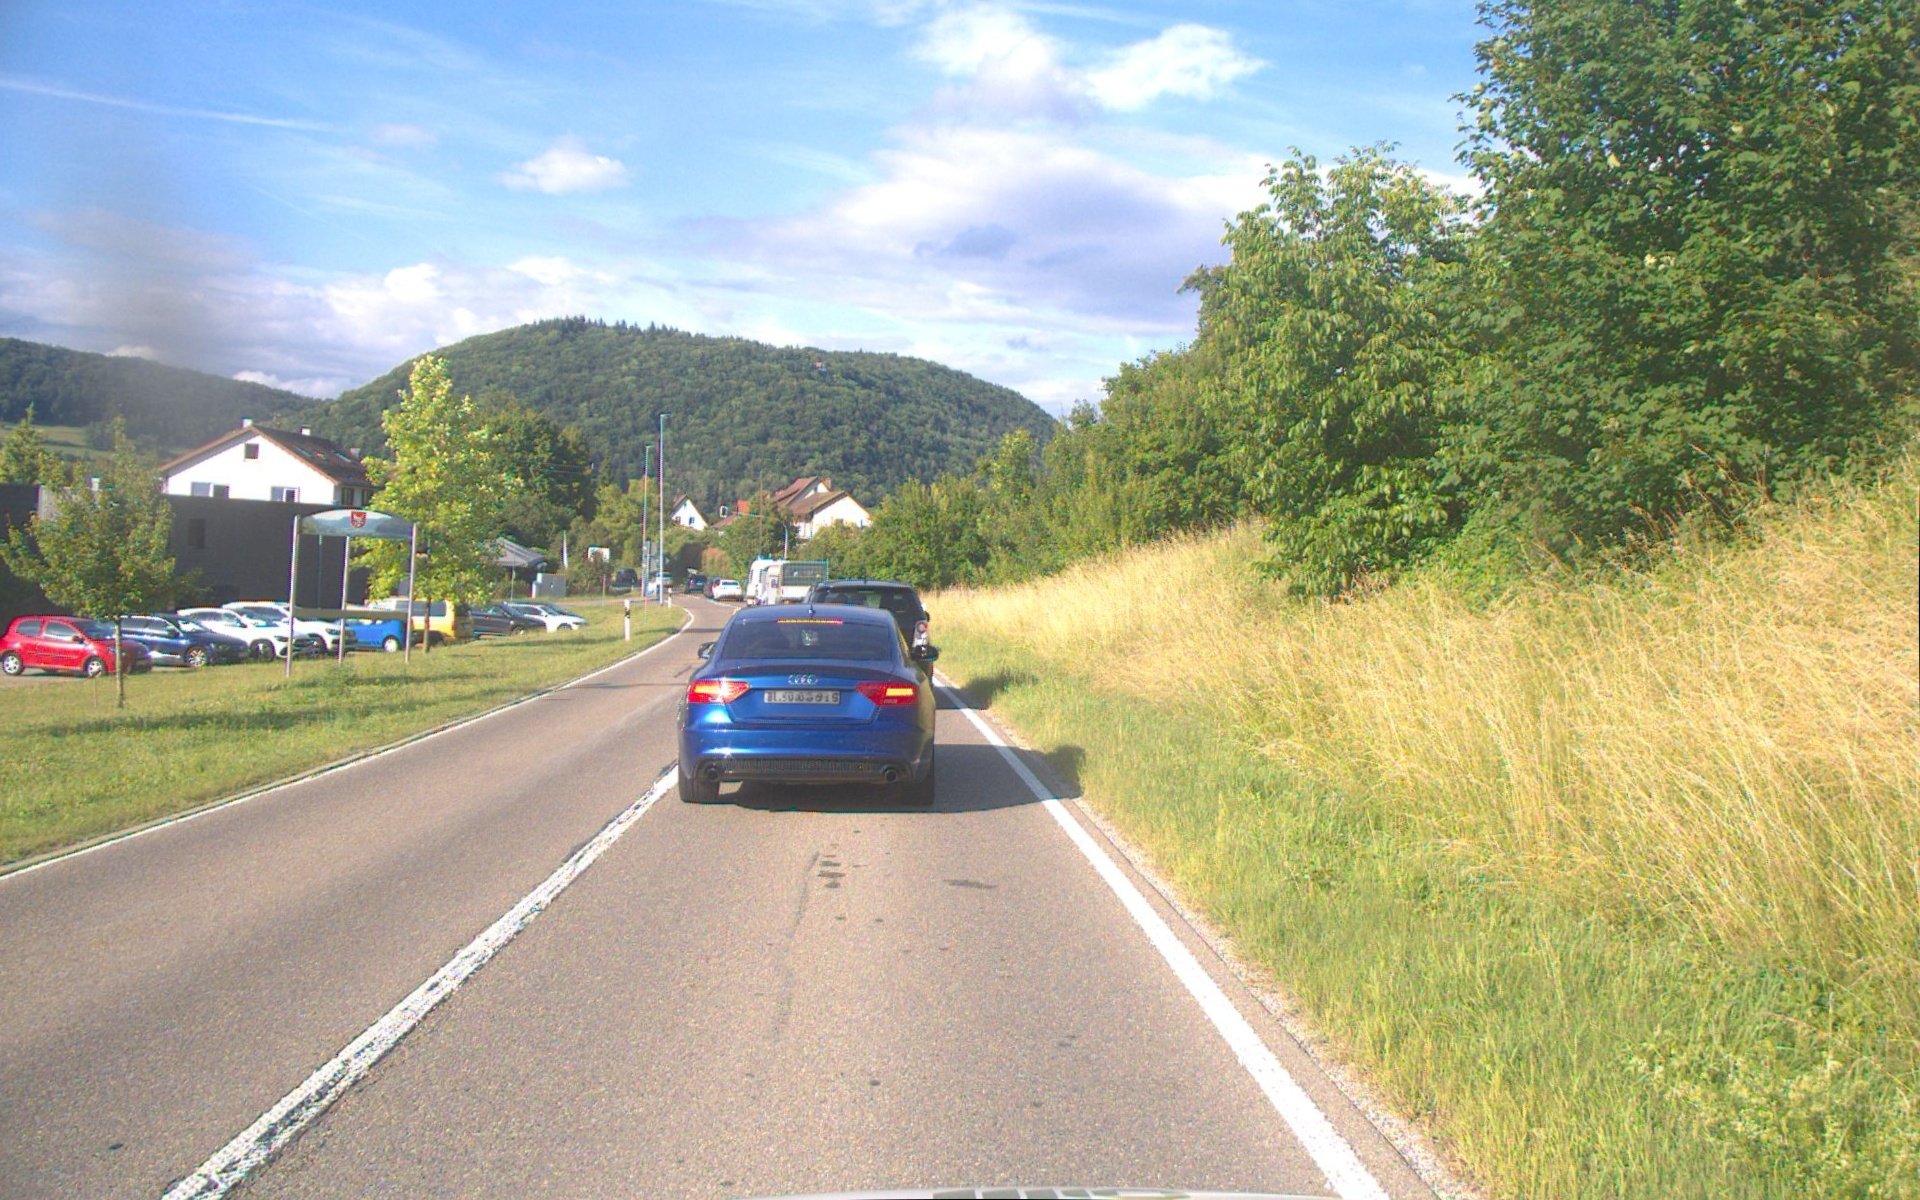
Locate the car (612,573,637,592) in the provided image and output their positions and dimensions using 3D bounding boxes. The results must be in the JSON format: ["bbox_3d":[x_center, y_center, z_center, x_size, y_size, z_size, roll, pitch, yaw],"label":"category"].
[{"bbox_3d":[-36.302,-1.872,178.910,1.927,1.958,3.974,0,0,-21],"label":"car"}]

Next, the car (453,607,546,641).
[{"bbox_3d":[-20.222,1.040,72.702,3.633,1.465,1.510,0,0,6],"label":"car"}]

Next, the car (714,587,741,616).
[{"bbox_3d":[-15.926,0.091,113.058,1.630,1.958,3.989,0,0,-11],"label":"car"}]

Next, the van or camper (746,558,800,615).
[{"bbox_3d":[-9.467,-0.648,83.263,2.240,2.761,5.751,0,0,-11],"label":"van or camper"}]

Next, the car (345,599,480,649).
[{"bbox_3d":[-20.712,0.897,62.639,4.456,1.846,1.842,0,0,6],"label":"car"}]

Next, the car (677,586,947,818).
[{"bbox_3d":[-1.034,0.653,12.355,1.708,1.476,3.515,0,0,-3],"label":"car"}]

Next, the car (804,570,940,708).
[{"bbox_3d":[-1.242,0.473,22.150,1.614,1.653,3.513,2,0,-6],"label":"car"}]

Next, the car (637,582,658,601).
[{"bbox_3d":[-31.418,-0.833,166.202,1.651,1.958,3.979,0,0,-18],"label":"car"}]

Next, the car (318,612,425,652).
[{"bbox_3d":[-21.353,1.157,60.098,3.300,1.397,1.660,0,0,-1],"label":"car"}]

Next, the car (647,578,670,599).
[{"bbox_3d":[-28.805,-1.049,158.047,1.651,1.958,3.979,0,0,-18],"label":"car"}]

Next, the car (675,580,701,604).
[{"bbox_3d":[-23.177,-0.681,140.743,1.650,1.958,3.981,0,0,-17],"label":"car"}]

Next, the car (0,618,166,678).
[{"bbox_3d":[-22.606,1.222,42.586,3.547,1.469,1.649,0,0,6],"label":"car"}]

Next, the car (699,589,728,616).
[{"bbox_3d":[-17.948,0.200,120.386,1.632,1.958,3.983,0,0,-16],"label":"car"}]

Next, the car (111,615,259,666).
[{"bbox_3d":[-22.280,1.161,47.608,3.547,1.429,1.598,0,0,6],"label":"car"}]

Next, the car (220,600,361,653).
[{"bbox_3d":[-21.857,0.860,54.069,3.990,1.702,1.598,0,0,6],"label":"car"}]

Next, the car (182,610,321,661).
[{"bbox_3d":[-21.716,1.079,50.767,3.588,1.520,1.598,0,0,6],"label":"car"}]

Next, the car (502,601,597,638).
[{"bbox_3d":[-19.099,0.901,77.098,3.950,1.689,1.657,0,0,6],"label":"car"}]

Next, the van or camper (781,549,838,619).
[{"bbox_3d":[-5.826,-0.589,63.480,2.013,2.549,5.803,0,0,-7],"label":"van or camper"}]
